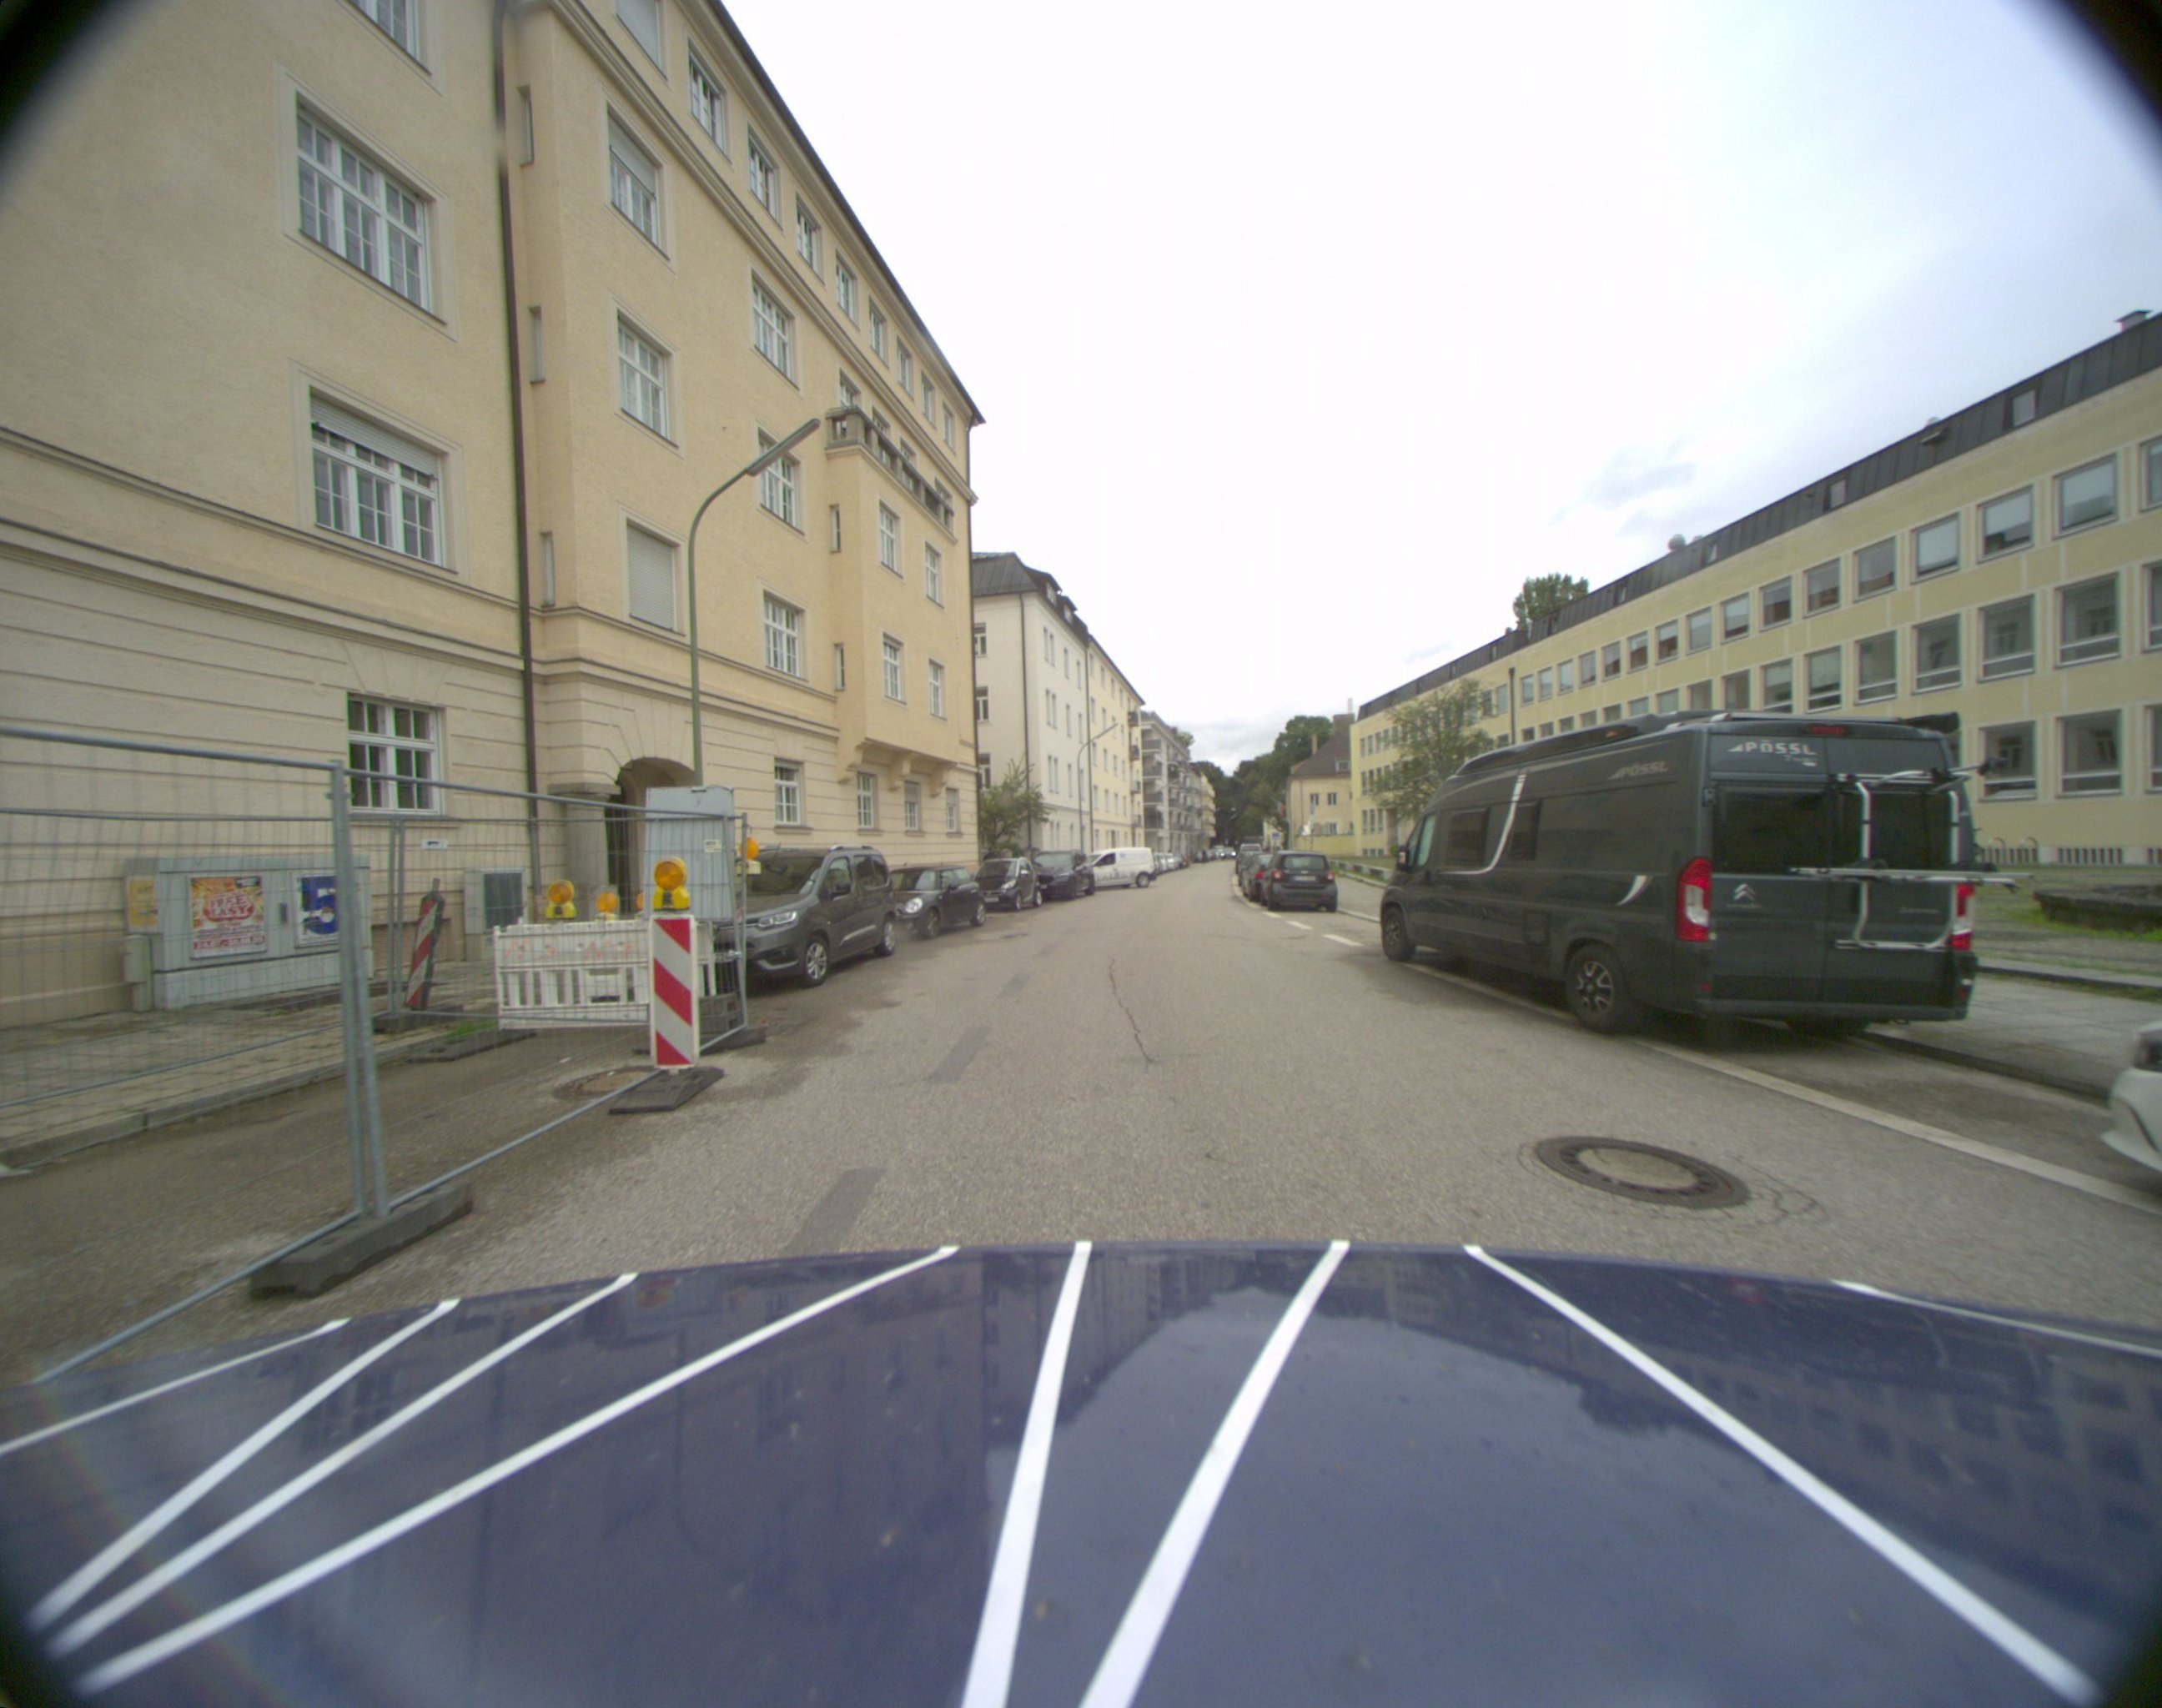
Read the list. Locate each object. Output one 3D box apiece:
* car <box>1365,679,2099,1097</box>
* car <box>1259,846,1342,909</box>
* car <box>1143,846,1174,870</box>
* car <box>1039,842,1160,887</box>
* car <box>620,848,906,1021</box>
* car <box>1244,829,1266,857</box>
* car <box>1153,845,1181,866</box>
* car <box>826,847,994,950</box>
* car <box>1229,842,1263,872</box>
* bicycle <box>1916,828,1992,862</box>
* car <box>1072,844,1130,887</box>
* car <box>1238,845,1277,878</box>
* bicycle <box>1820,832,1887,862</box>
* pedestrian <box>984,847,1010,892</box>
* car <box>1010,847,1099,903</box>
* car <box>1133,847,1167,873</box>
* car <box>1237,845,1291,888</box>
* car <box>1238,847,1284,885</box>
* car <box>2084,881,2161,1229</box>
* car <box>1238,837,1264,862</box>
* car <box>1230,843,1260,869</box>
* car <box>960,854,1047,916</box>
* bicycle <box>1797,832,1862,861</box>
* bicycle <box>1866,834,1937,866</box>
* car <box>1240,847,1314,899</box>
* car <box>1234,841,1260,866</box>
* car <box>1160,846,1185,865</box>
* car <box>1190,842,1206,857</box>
[{"bbox_3d":[5.174,0.174,7.796,2.149,2.559,6.210,-1,1,-1],"label":"car"},{"bbox_3d":[5.523,0.541,19.438,1.670,1.451,2.869,1,2,8],"label":"car"},{"bbox_3d":[5.881,0.295,57.359,1.780,1.582,3.704,-4,1,13],"label":"car"},{"bbox_3d":[0.820,0.396,33.062,4.930,1.762,1.881,-2,2,-24],"label":"car"},{"bbox_3d":[-4.043,0.891,10.595,1.840,1.788,4.239,-4,1,4],"label":"car"},{"bbox_3d":[17.593,-1.130,76.940,1.996,2.702,4.963,-1,1,13],"label":"car"},{"bbox_3d":[7.047,0.102,61.810,1.840,1.450,4.025,-4,1,12],"label":"car"},{"bbox_3d":[-3.372,0.819,15.771,1.839,1.720,3.733,-4,1,13],"label":"car"},{"bbox_3d":[9.667,0.141,44.769,1.743,1.536,4.085,-4,1,11],"label":"car"},{"bbox_3d":[26.872,-0.269,23.392,1.906,0.911,0.437,-4,1,-3],"label":"bicycle"},{"bbox_3d":[1.015,0.476,35.479,1.780,1.720,4.393,-4,1,13],"label":"car"},{"bbox_3d":[8.901,0.362,38.541,1.724,1.521,4.002,0,1,10],"label":"car"},{"bbox_3d":[26.745,-0.237,26.299,1.906,0.911,0.437,-4,1,-3],"label":"bicycle"},{"bbox_3d":[-3.446,0.638,31.154,0.684,1.750,0.694,-3,2,44],"label":"pedestrian"},{"bbox_3d":[-0.822,0.687,27.257,1.931,1.719,4.692,-4,-1,13],"label":"car"},{"bbox_3d":[4.758,0.381,52.196,1.780,1.582,3.704,-4,1,13],"label":"car"},{"bbox_3d":[6.809,0.413,28.527,1.724,1.473,3.756,0,1,10],"label":"car"},{"bbox_3d":[7.821,0.476,33.291,1.724,1.473,4.207,0,1,10],"label":"car"},{"bbox_3d":[5.404,0.844,1.264,1.832,1.379,4.139,2,0,-5],"label":"car"},{"bbox_3d":[14.284,-0.415,64.073,1.947,1.965,4.358,0,2,10],"label":"car"},{"bbox_3d":[10.598,0.118,49.233,1.743,1.459,3.688,-4,1,12],"label":"car"},{"bbox_3d":[-2.193,0.850,22.190,1.510,1.548,2.865,-4,1,15],"label":"car"},{"bbox_3d":[26.706,-0.263,27.110,1.906,0.911,0.437,-4,1,-3],"label":"bicycle"},{"bbox_3d":[26.846,-0.131,24.876,1.906,0.911,0.437,-4,1,-3],"label":"bicycle"},{"bbox_3d":[5.981,0.518,23.564,1.724,1.356,4.214,1,2,8],"label":"car"},{"bbox_3d":[11.880,-0.052,54.379,1.743,1.679,4.125,0,2,11],"label":"car"},{"bbox_3d":[8.097,0.112,66.880,1.741,1.367,4.025,-4,1,12],"label":"car"},{"bbox_3d":[14.662,-0.594,95.181,1.637,1.726,3.883,-4,1,13],"label":"car"}]
